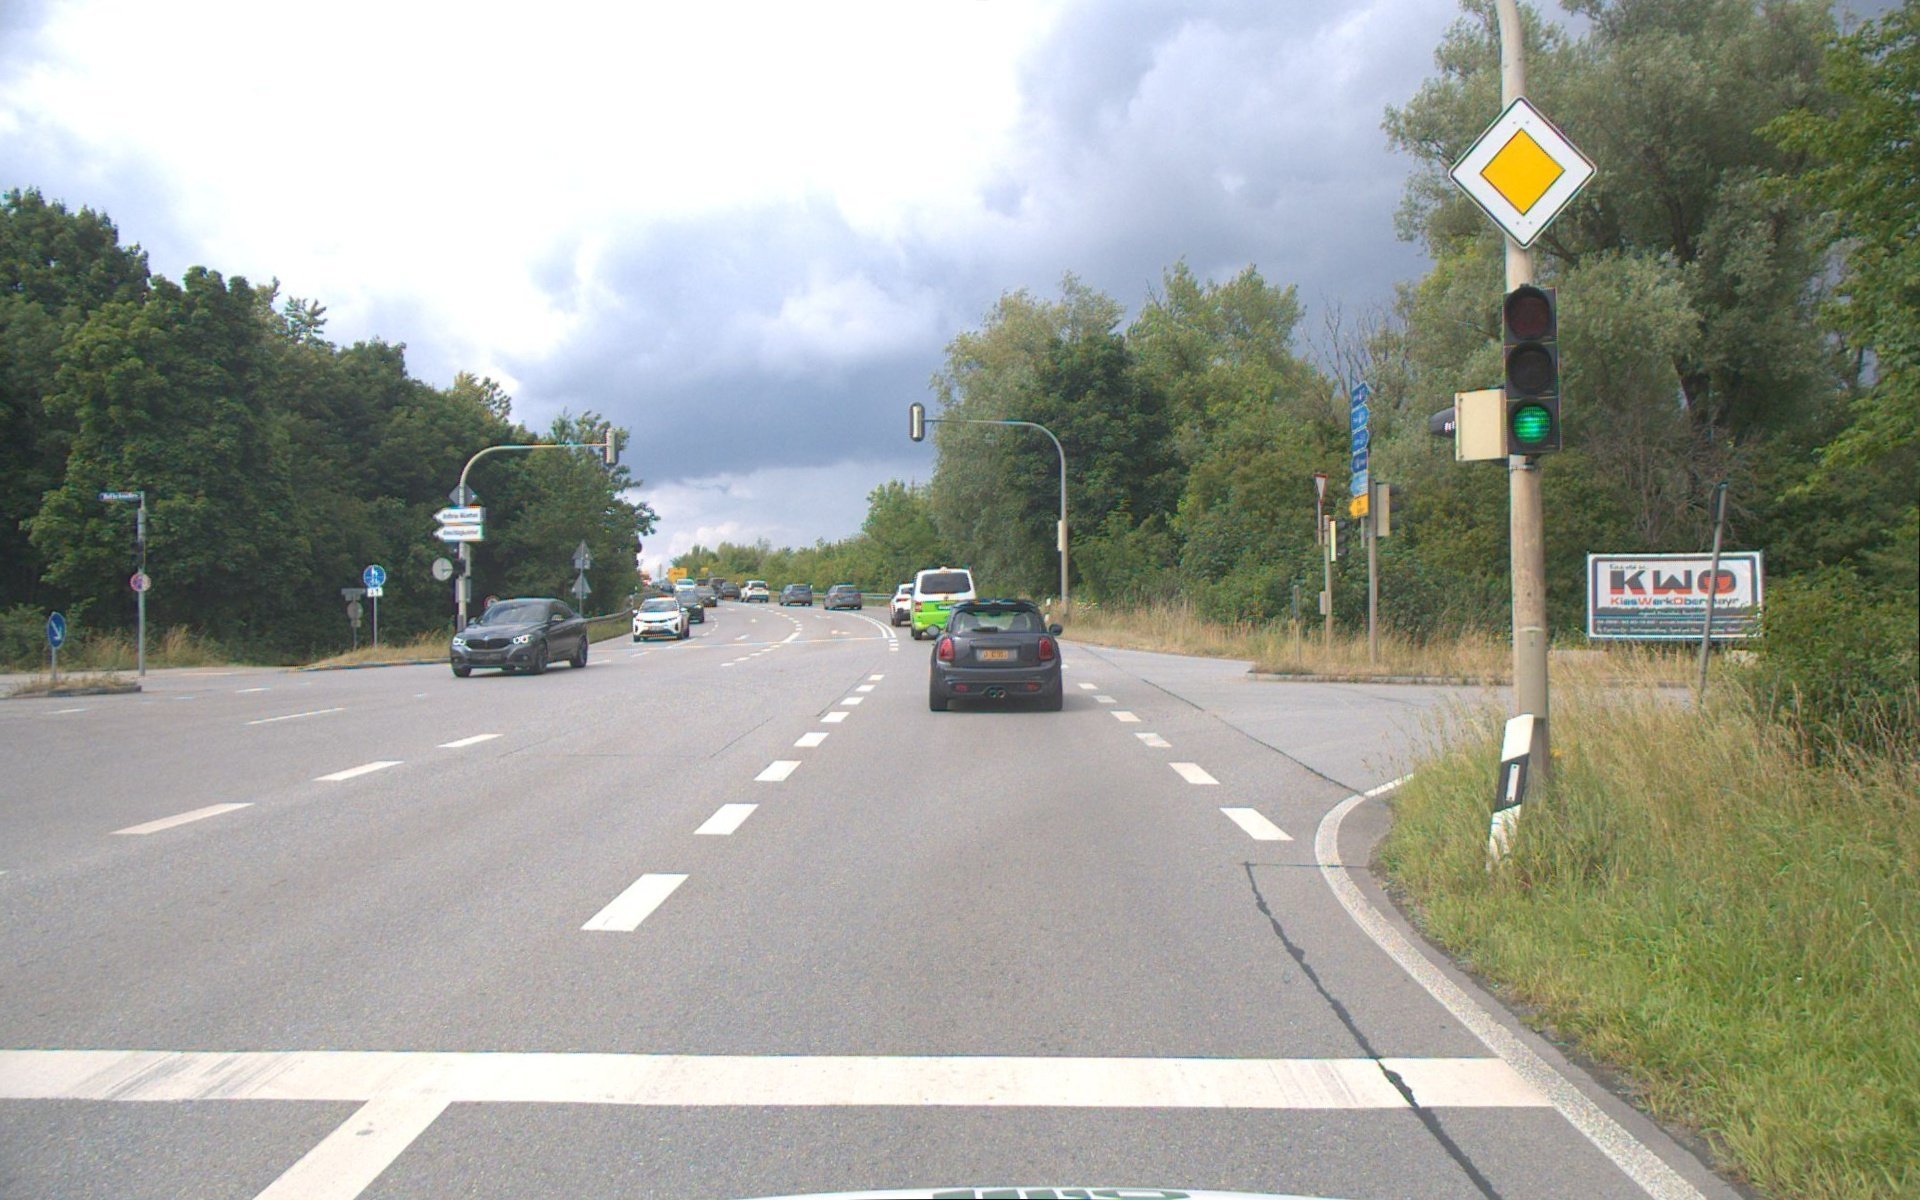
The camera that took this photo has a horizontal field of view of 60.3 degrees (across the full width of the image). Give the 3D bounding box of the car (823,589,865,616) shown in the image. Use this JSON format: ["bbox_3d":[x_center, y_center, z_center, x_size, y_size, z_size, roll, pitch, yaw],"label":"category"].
[{"bbox_3d":[-6.845,0.153,97.236,1.957,1.502,4.474,0,0,-10],"label":"car"}]

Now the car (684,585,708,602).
[{"bbox_3d":[-28.675,-0.685,179.685,1.962,1.725,4.464,0,0,-17],"label":"car"}]

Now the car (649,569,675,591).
[{"bbox_3d":[-24.289,-1.661,134.729,1.959,1.720,3.988,-1,1,-12],"label":"car"}]

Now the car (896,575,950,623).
[{"bbox_3d":[-1.429,-0.025,62.456,1.953,1.713,3.998,-1,0,-2],"label":"car"}]

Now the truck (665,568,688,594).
[{"bbox_3d":[-37.053,-2.464,216.020,2.669,2.949,8.744,1,-2,-11],"label":"truck"}]

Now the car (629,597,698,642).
[{"bbox_3d":[-10.615,0.674,59.551,1.694,1.531,4.346,-1,0,0],"label":"car"}]

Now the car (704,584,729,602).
[{"bbox_3d":[-23.837,-0.690,161.689,1.960,1.725,4.467,0,0,-15],"label":"car"}]

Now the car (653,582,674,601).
[{"bbox_3d":[-31.635,-0.917,176.389,1.960,2.049,3.985,1,0,-14],"label":"car"}]

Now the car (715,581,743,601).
[{"bbox_3d":[-20.593,-0.824,147.243,1.960,1.725,4.467,0,0,-15],"label":"car"}]

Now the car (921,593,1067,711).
[{"bbox_3d":[0.398,0.639,22.429,1.807,1.453,3.840,0,0,-1],"label":"car"}]

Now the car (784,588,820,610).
[{"bbox_3d":[-10.975,-0.079,114.410,1.959,1.502,4.471,0,0,-13],"label":"car"}]

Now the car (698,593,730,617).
[{"bbox_3d":[-17.155,0.346,115.620,1.704,1.429,4.248,-6,1,-4],"label":"car"}]

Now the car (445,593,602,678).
[{"bbox_3d":[-8.977,0.689,34.441,1.751,1.556,4.905,-3,0,2],"label":"car"}]

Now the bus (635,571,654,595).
[{"bbox_3d":[-44.888,-2.423,235.410,1.961,3.359,7.397,-1,1,-16],"label":"bus"}]

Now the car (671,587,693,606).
[{"bbox_3d":[-25.326,-0.302,150.771,1.957,1.641,3.992,-1,1,-9],"label":"car"}]

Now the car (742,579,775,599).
[{"bbox_3d":[-15.808,-0.871,129.660,1.960,1.502,4.468,0,0,-15],"label":"car"}]

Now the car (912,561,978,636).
[{"bbox_3d":[-0.475,-0.078,48.036,1.808,2.021,3.840,0,2,-2],"label":"car"}]
